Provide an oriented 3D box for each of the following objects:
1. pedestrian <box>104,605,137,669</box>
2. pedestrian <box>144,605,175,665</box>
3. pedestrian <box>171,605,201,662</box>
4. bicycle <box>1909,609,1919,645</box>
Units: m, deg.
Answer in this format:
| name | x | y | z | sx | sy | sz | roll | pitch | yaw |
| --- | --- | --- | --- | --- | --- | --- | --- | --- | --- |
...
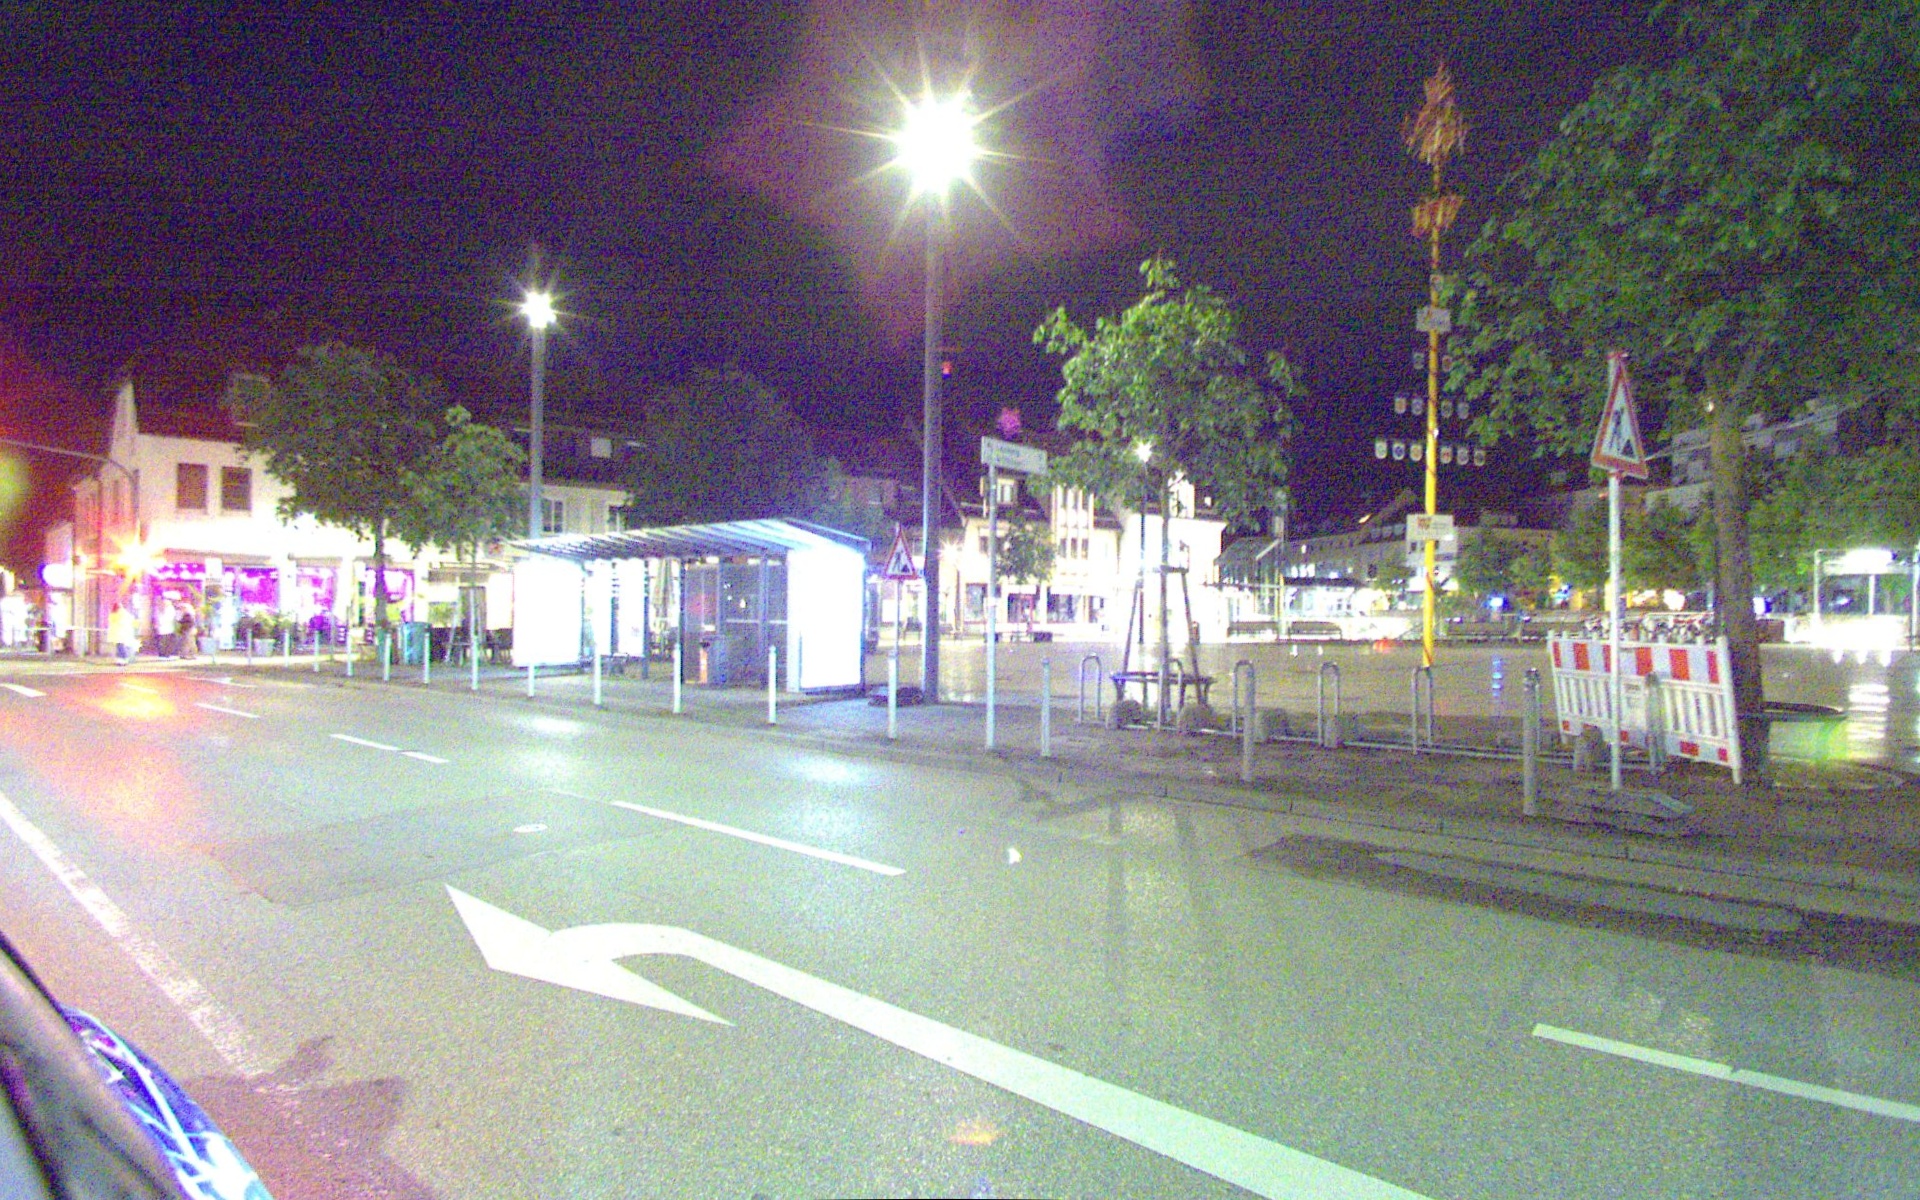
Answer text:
| name | x | y | z | sx | sy | sz | roll | pitch | yaw |
| --- | --- | --- | --- | --- | --- | --- | --- | --- | --- |
| pedestrian | -22.769 | 0.988 | 27.456 | 0.531 | 1.694 | 0.649 | -1 | 0 | -27 |
| pedestrian | -23.172 | 0.993 | 29.311 | 0.573 | 1.694 | 0.649 | -1 | 0 | -27 |
| pedestrian | -22.623 | 0.960 | 29.586 | 0.573 | 1.640 | 0.649 | -1 | 0 | -27 |
| bicycle | 26.401 | 0.711 | 26.978 | 1.525 | 0.965 | 0.476 | -1 | 0 | 25 |
